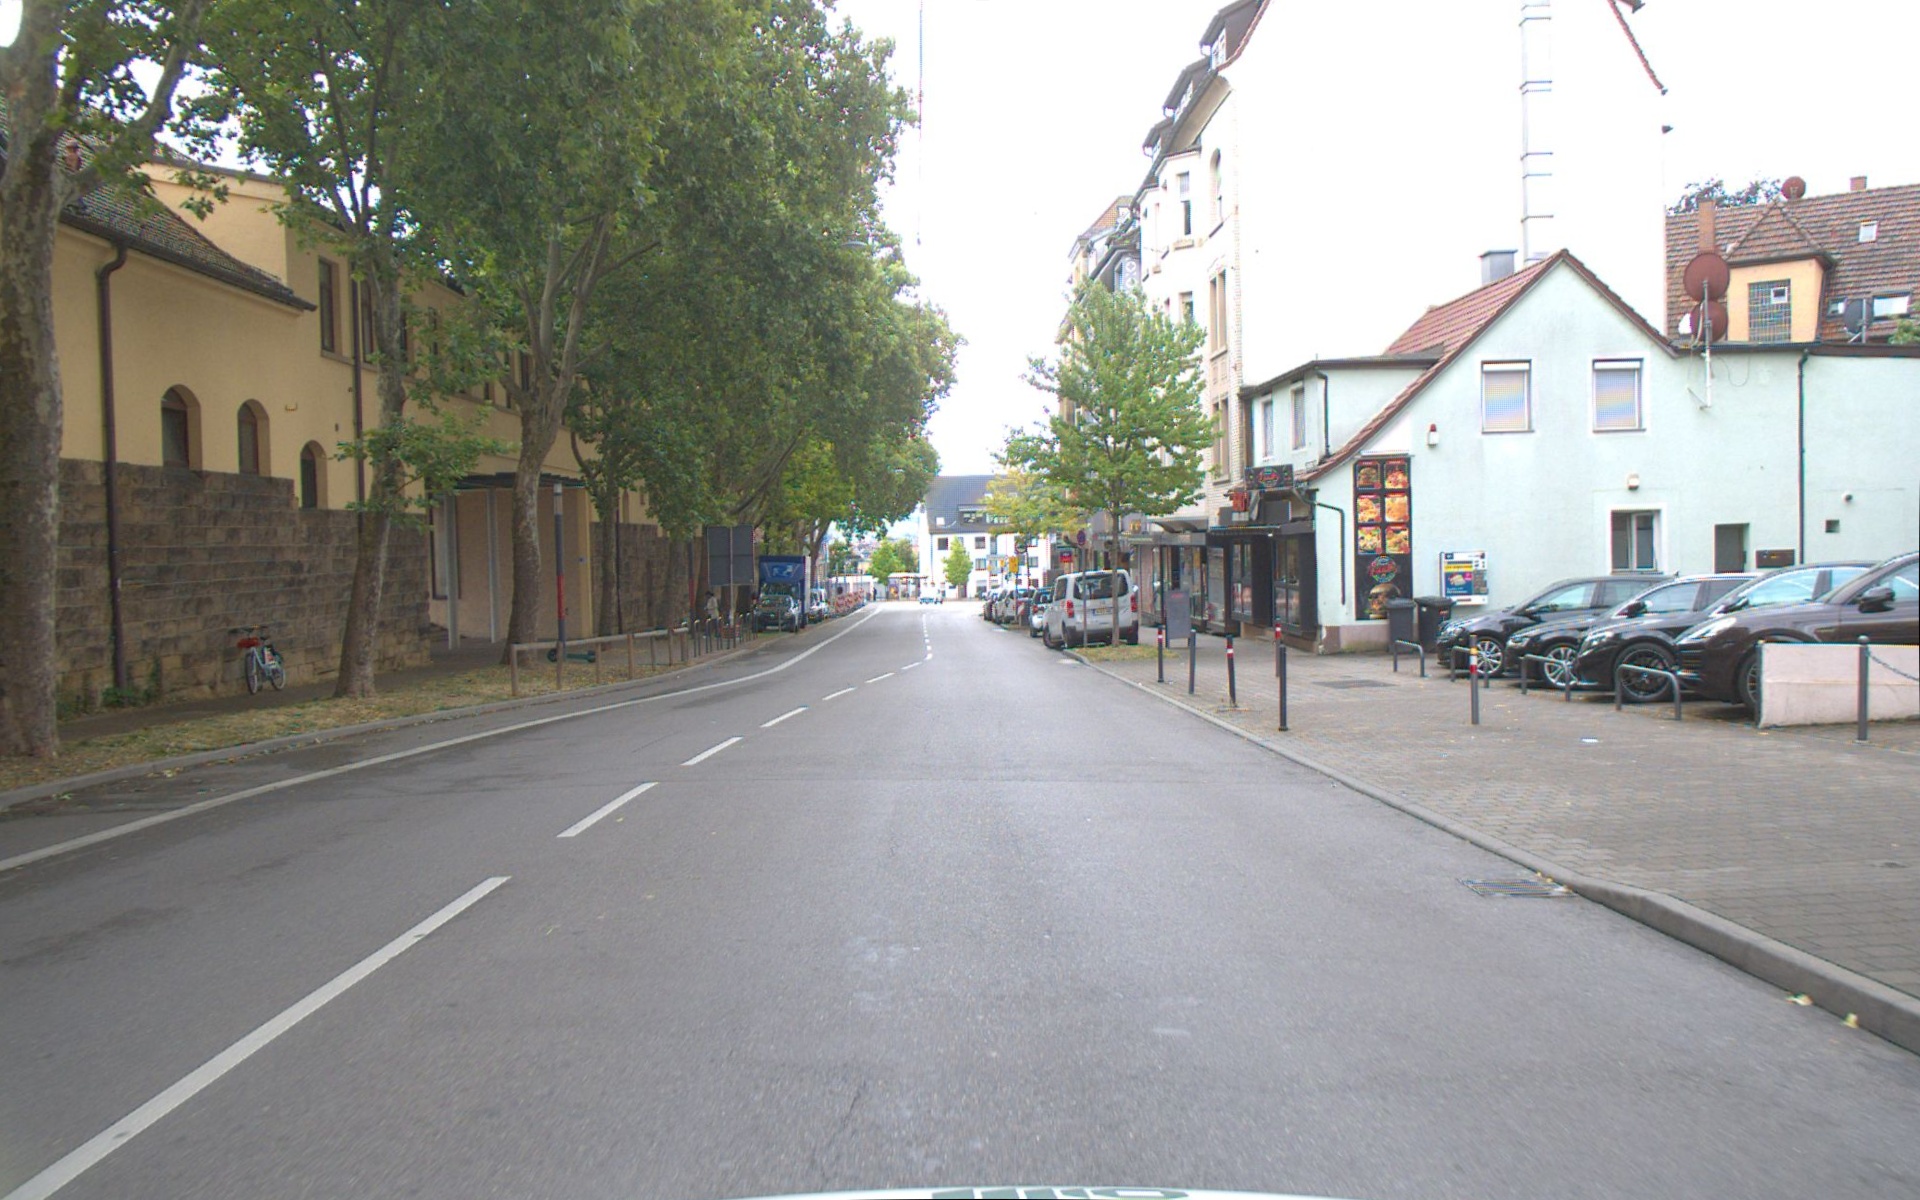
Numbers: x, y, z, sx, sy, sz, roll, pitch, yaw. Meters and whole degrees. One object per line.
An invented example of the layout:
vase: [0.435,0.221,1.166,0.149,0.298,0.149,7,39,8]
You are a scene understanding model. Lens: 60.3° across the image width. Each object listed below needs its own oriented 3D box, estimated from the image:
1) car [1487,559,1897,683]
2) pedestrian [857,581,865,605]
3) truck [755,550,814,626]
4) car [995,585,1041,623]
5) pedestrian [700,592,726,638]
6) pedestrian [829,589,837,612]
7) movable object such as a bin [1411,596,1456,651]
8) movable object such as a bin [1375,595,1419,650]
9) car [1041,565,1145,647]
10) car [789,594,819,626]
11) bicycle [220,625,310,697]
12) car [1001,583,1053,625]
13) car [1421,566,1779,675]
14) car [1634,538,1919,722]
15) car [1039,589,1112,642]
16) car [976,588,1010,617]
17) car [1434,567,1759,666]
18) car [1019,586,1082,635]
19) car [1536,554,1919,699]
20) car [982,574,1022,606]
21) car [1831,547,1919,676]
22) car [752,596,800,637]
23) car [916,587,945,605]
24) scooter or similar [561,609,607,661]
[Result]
car: [9.674,0.286,22.146,4.804,1.519,1.854,-1,0,24]
pedestrian: [-8.502,-0.591,141.862,0.620,2.049,0.784,-1,0,0]
truck: [-8.267,-0.585,78.620,2.186,3.404,7.446,-1,0,-2]
car: [2.525,0.154,72.804,1.636,1.574,3.753,-1,1,-4]
pedestrian: [-8.635,0.527,57.861,0.667,1.563,0.604,-1,0,-34]
pedestrian: [-11.417,0.055,148.461,0.620,2.029,0.784,-1,0,0]
movable object such as a bin: [9.363,0.453,32.713,0.684,1.059,0.645,-1,0,0]
movable object such as a bin: [8.628,0.433,32.687,0.684,1.059,0.645,-1,0,0]
car: [3.381,0.120,42.926,1.954,1.969,4.915,-1,1,-4]
car: [-8.532,0.512,90.380,1.503,1.667,3.715,-1,0,-4]
bicycle: [-11.757,1.003,28.037,0.584,1.110,2.195,1,0,0]
car: [2.646,0.150,66.175,1.636,1.574,3.753,-1,1,-4]
car: [9.529,0.310,24.743,4.805,1.495,1.928,-1,0,25]
car: [9.531,0.234,16.769,4.806,1.702,1.998,-4,0,26]
car: [3.369,0.437,48.904,1.636,1.457,3.753,-1,1,-4]
car: [1.930,0.134,96.570,1.636,1.574,3.753,-1,1,-4]
car: [10.369,0.265,27.231,4.800,1.495,1.930,-1,0,19]
car: [3.038,0.335,56.171,1.636,1.574,3.753,-1,1,-4]
car: [9.451,0.294,19.466,4.807,1.567,1.998,-1,0,27]
car: [2.079,-0.514,83.627,1.636,1.574,3.753,-1,1,-4]
car: [13.382,0.133,21.768,1.678,1.694,3.889,-1,1,-2]
car: [-7.688,0.648,69.247,1.798,1.605,3.753,-1,1,-4]
car: [-2.718,-0.381,153.060,1.824,1.515,3.883,-1,1,12]
scooter or similar: [-8.991,0.825,39.584,1.010,1.205,0.490,-1,0,-11]
